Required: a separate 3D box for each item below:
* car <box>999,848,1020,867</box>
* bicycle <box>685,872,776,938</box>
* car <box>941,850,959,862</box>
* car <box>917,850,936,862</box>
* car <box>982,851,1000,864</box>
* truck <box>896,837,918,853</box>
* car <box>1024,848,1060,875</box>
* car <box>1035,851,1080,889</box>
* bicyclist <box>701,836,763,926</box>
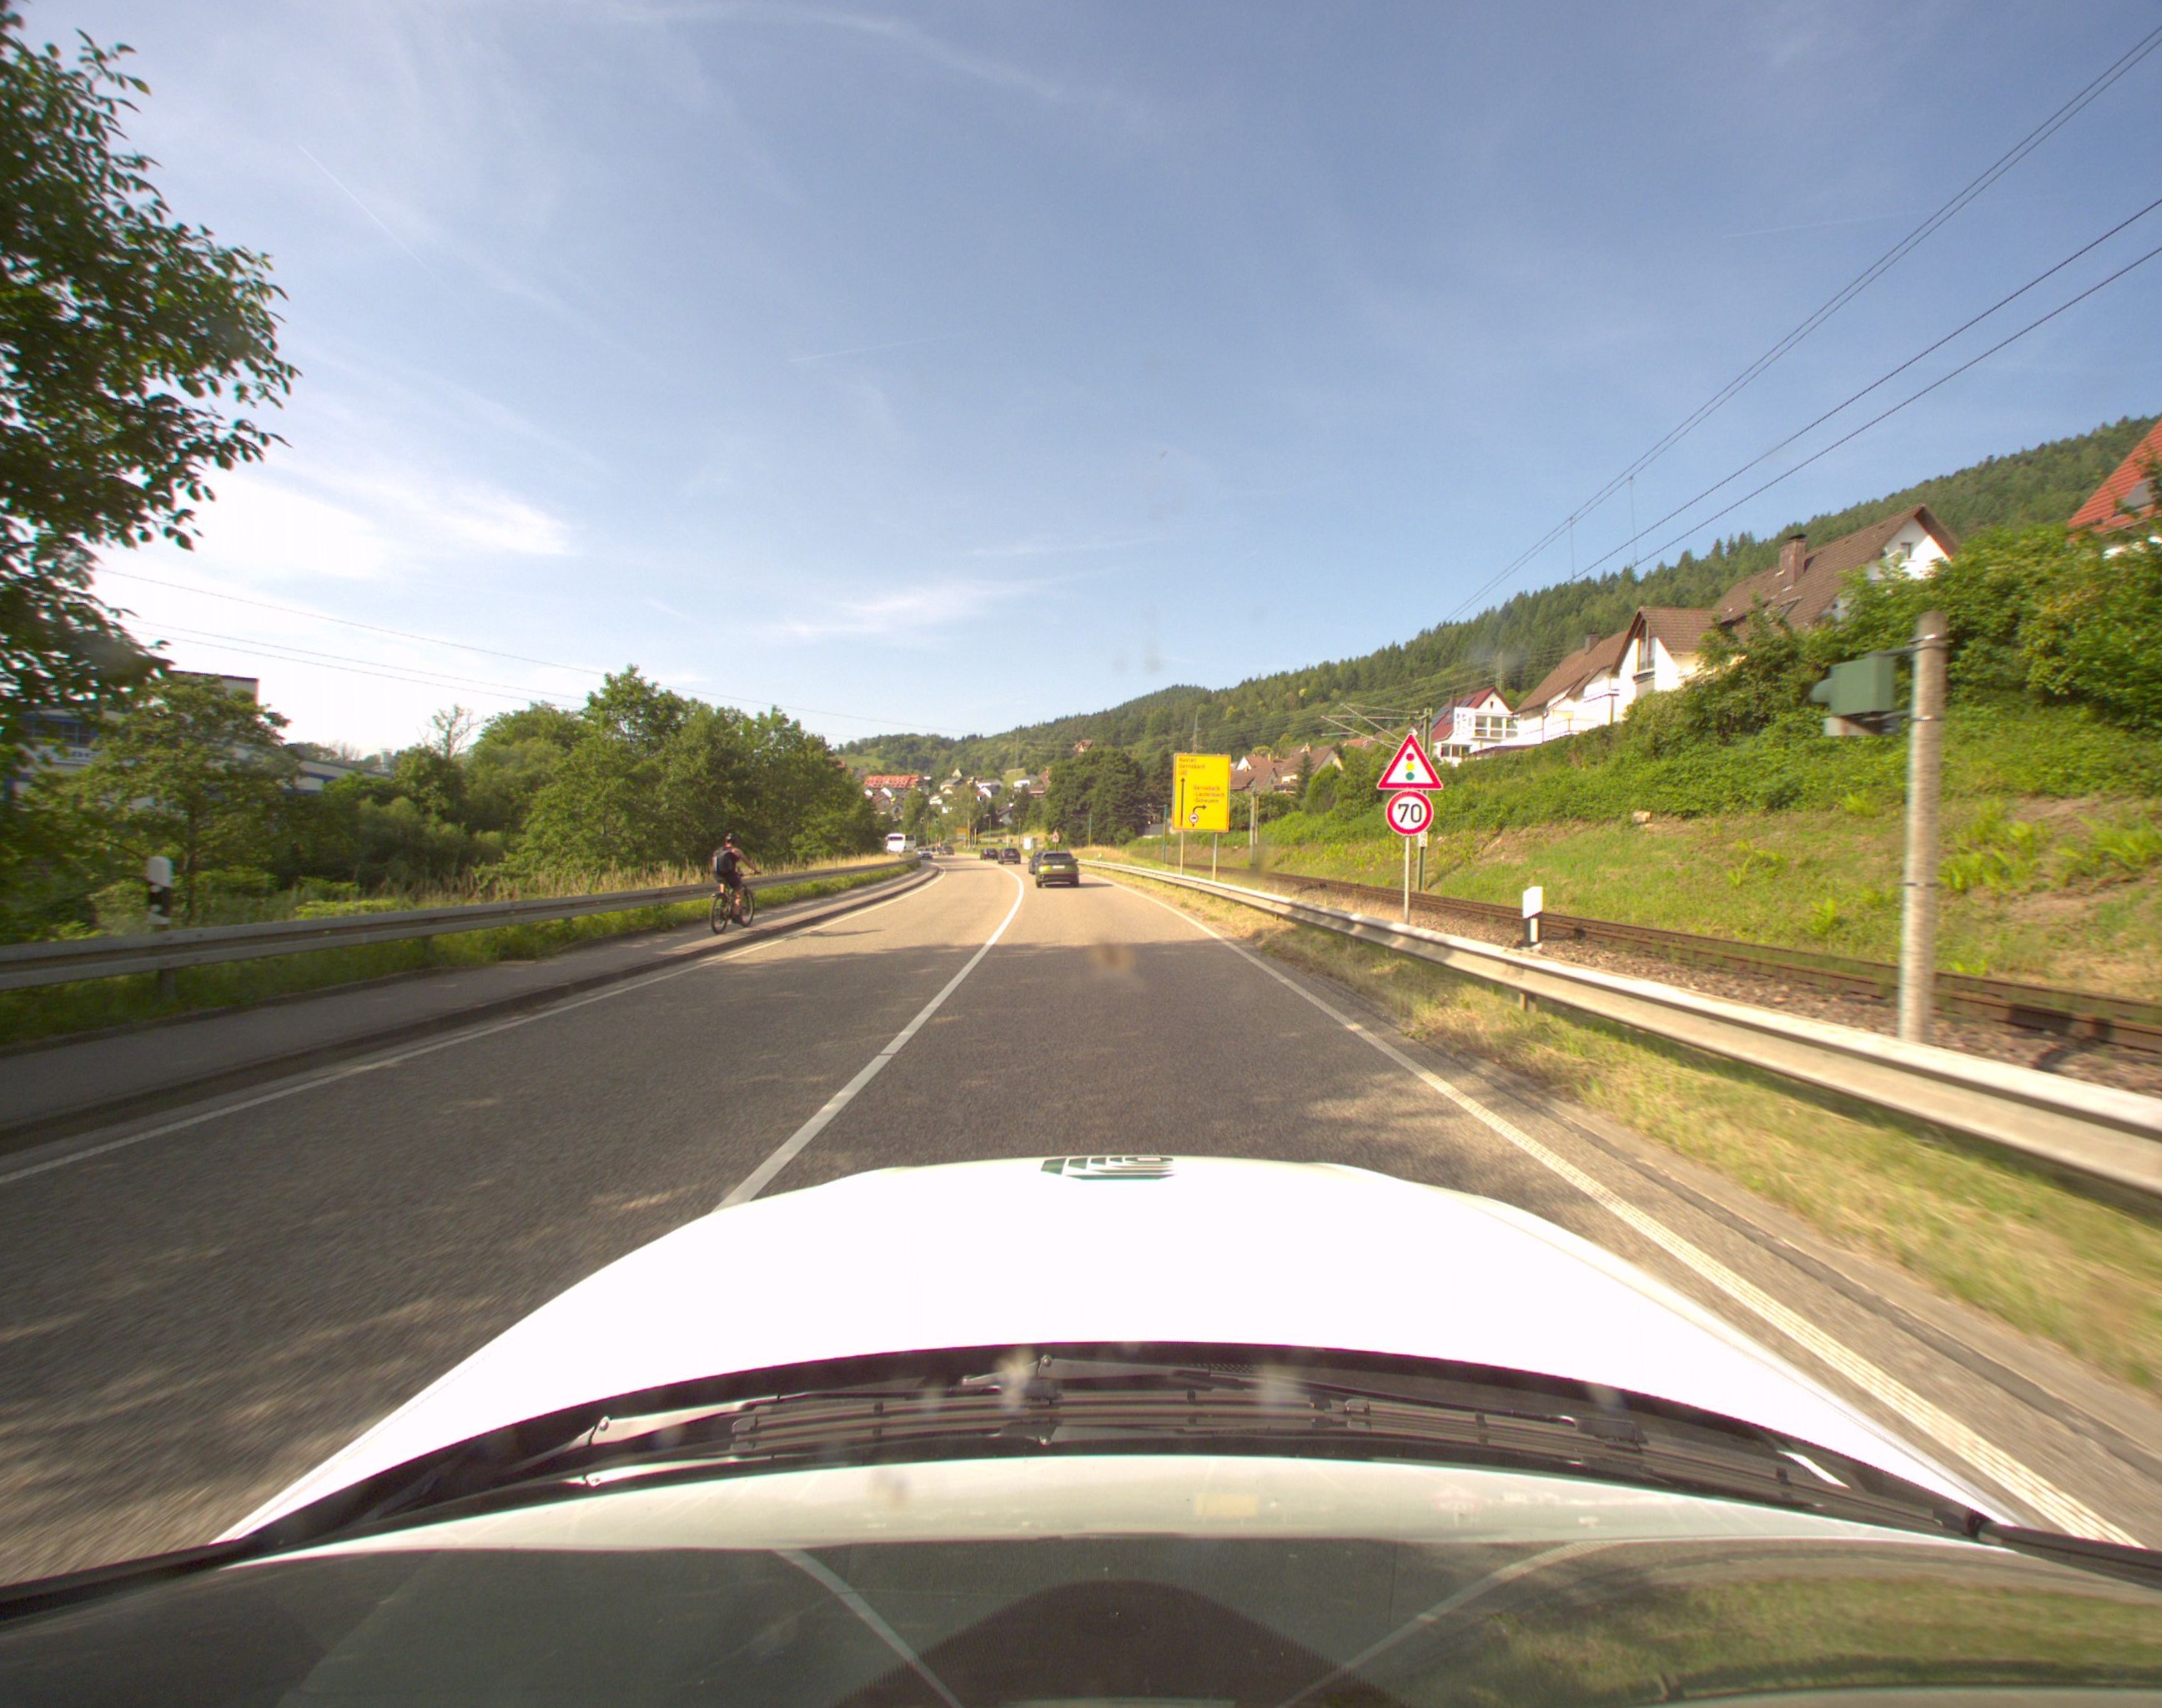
[{"bbox_3d":[-6.915,0.312,78.889,1.878,1.686,3.991,1,0,-7],"label":"car"},{"bbox_3d":[-6.521,0.905,15.290,0.555,1.045,2.231,4,1,3],"label":"bicycle"},{"bbox_3d":[-21.841,0.323,135.234,2.071,1.811,3.971,3,-2,-22],"label":"car"},{"bbox_3d":[-20.635,0.258,108.639,1.998,1.629,3.977,-1,0,-17],"label":"car"},{"bbox_3d":[-10.964,0.408,98.777,1.850,1.527,3.647,1,0,-12],"label":"car"},{"bbox_3d":[-34.817,-1.772,163.149,2.728,3.083,6.053,-1,2,-28],"label":"truck"},{"bbox_3d":[-2.400,0.421,49.332,1.667,1.559,3.987,-1,0,-9],"label":"car"},{"bbox_3d":[-1.039,0.622,34.230,1.711,1.455,3.994,-2,0,-4],"label":"car"},{"bbox_3d":[-6.499,0.483,15.211,0.555,1.586,1.036,4,0,3],"label":"bicyclist"}]
